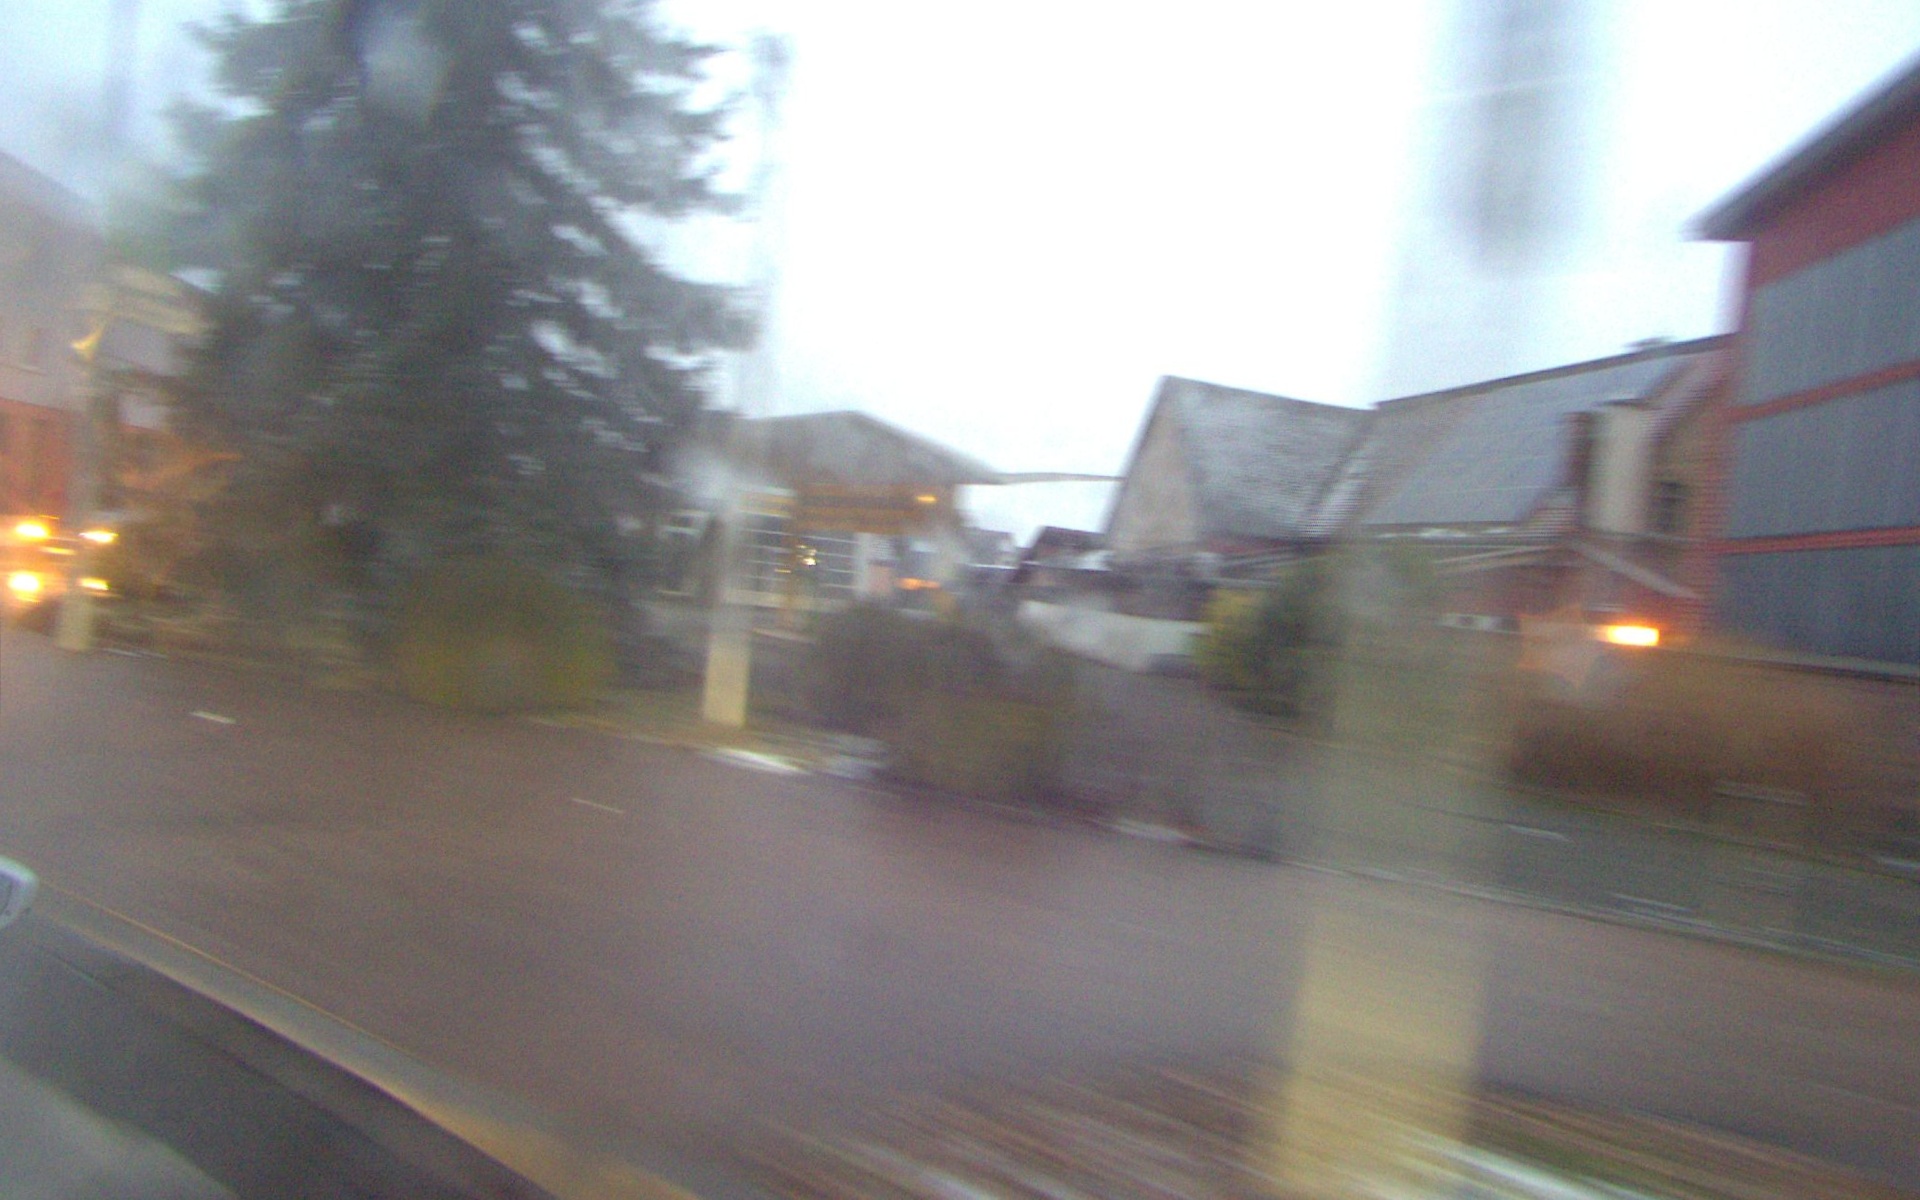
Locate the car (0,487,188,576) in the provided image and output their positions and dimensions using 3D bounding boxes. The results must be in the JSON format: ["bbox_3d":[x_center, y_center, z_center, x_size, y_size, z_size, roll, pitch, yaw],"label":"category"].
[{"bbox_3d":[-22.182,-1.669,25.958,2.015,1.809,4.119,6,-1,-15],"label":"car"}]
